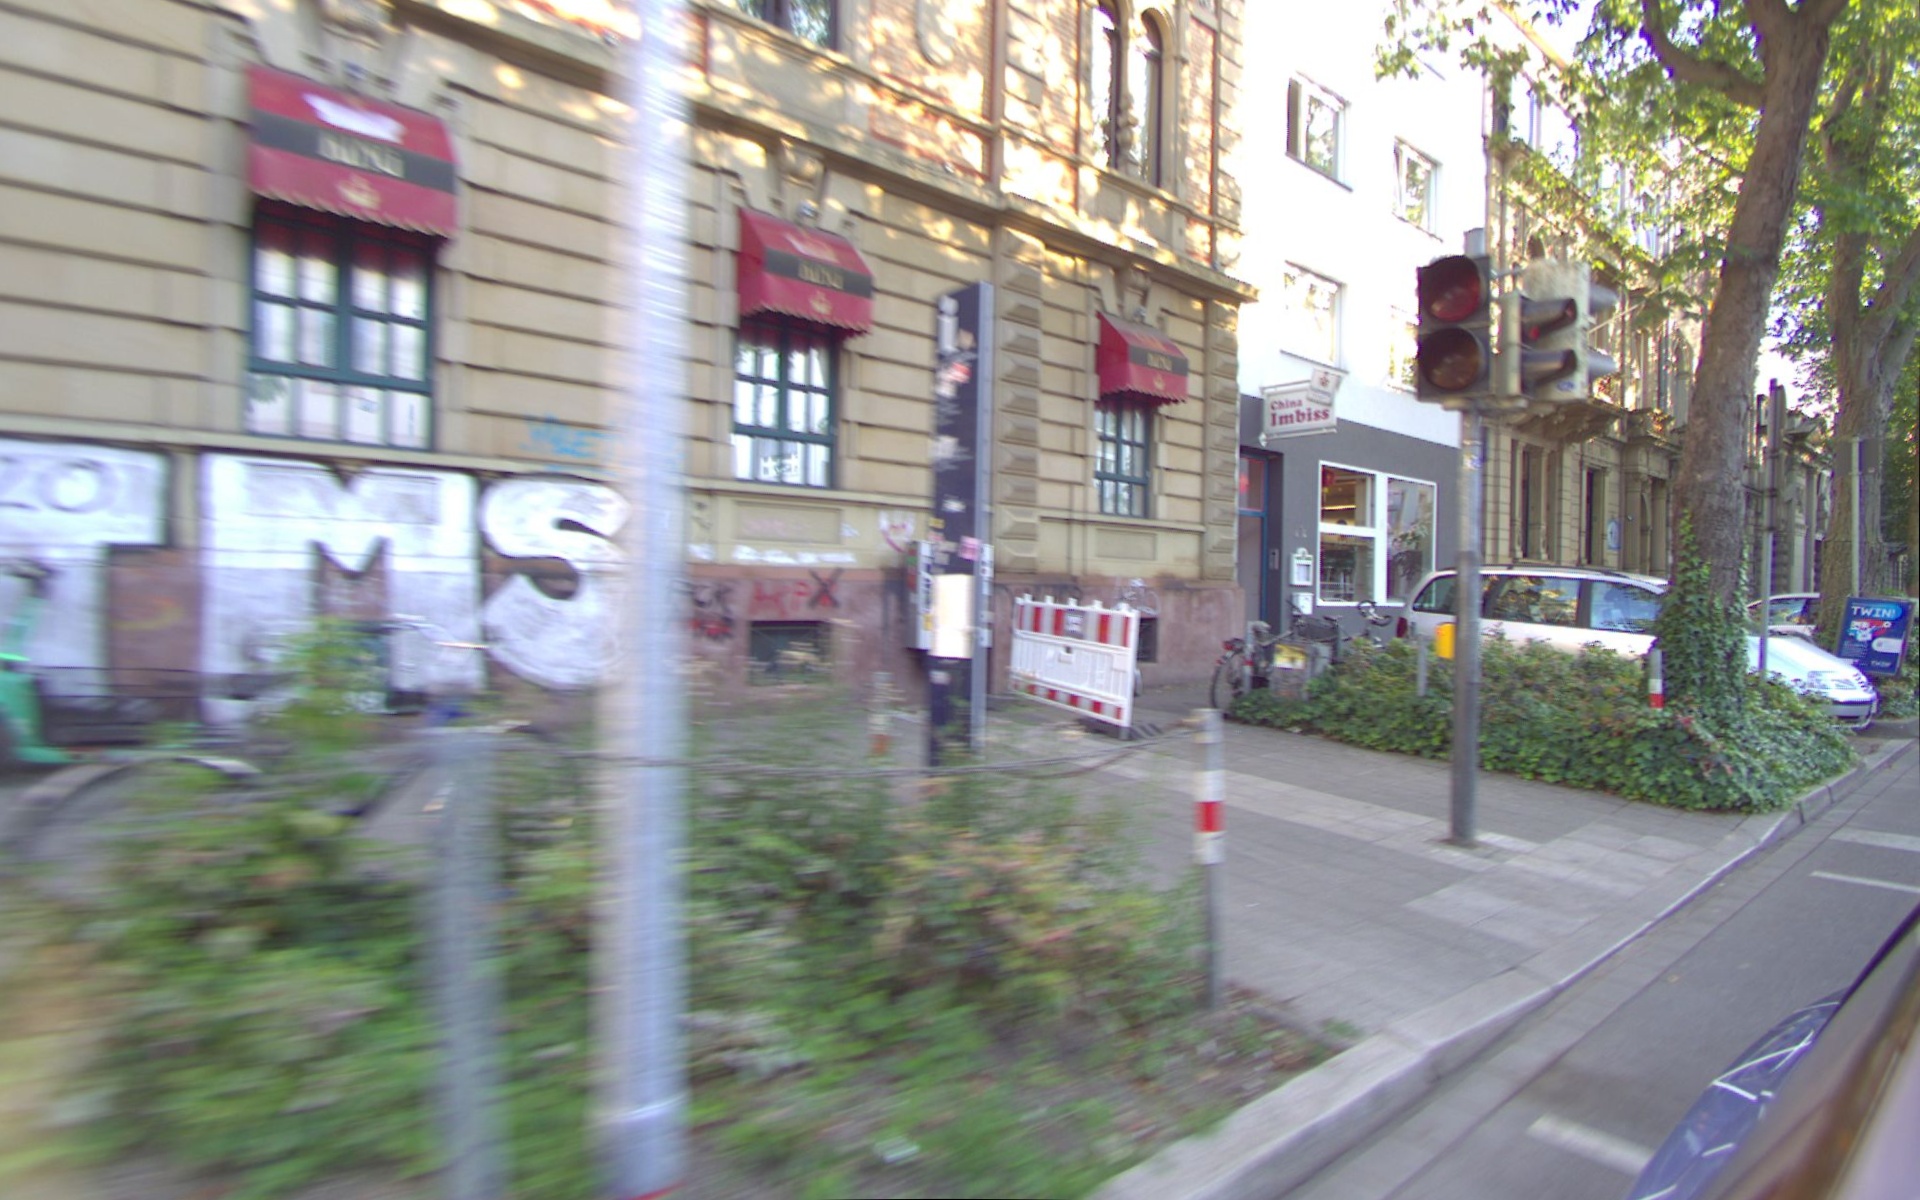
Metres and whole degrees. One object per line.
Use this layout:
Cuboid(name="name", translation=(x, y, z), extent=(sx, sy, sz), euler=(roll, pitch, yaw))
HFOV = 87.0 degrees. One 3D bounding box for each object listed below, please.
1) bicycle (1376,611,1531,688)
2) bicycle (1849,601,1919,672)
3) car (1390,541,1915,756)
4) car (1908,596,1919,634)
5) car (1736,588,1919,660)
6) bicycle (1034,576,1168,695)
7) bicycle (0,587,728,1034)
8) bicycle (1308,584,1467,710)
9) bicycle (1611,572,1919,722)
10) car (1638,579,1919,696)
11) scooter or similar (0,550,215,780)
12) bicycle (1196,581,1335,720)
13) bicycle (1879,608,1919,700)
Cuboid(name="bicycle", translation=(5.095, 0.471, 10.362), extent=(2.289, 0.673, 0.582), euler=(0, 0, -41))
Cuboid(name="bicycle", translation=(17.527, 0.694, 18.363), extent=(2.016, 1.219, 0.482), euler=(4, 3, 38))
Cuboid(name="car", translation=(7.562, 0.348, 11.443), extent=(1.917, 1.938, 4.547), euler=(1, 2, -42))
Cuboid(name="car", translation=(40.181, 0.755, 39.626), extent=(1.822, 1.499, 4.235), euler=(1, 4, -40))
Cuboid(name="car", translation=(20.768, 0.539, 23.043), extent=(1.890, 1.455, 4.596), euler=(1, 1, -38))
Cuboid(name="bicycle", translation=(1.585, 0.371, 11.206), extent=(1.694, 1.226, 0.386), euler=(0, 1, -39))
Cuboid(name="bicycle", translation=(-1.939, 0.554, 3.619), extent=(0.524, 1.166, 2.212), euler=(2, 1, 45))
Cuboid(name="bicycle", translation=(4.685, 0.476, 11.019), extent=(2.120, 1.254, 0.582), euler=(1, 1, -37))
Cuboid(name="bicycle", translation=(10.000, 0.509, 12.617), extent=(0.647, 1.684, 3.115), euler=(1, 0, -44))
Cuboid(name="car", translation=(13.512, 0.534, 15.979), extent=(1.934, 1.580, 4.238), euler=(1, 1, -37))
Cuboid(name="scooter or similar", translation=(-4.846, 0.347, 5.645), extent=(1.073, 1.209, 0.251), euler=(2, 0, -40))
Cuboid(name="bicycle", translation=(3.008, 0.460, 9.879), extent=(1.694, 1.250, 0.386), euler=(0, 1, -39))
Cuboid(name="bicycle", translation=(13.231, 0.748, 13.508), extent=(0.480, 1.219, 1.340), euler=(1, 2, -41))
